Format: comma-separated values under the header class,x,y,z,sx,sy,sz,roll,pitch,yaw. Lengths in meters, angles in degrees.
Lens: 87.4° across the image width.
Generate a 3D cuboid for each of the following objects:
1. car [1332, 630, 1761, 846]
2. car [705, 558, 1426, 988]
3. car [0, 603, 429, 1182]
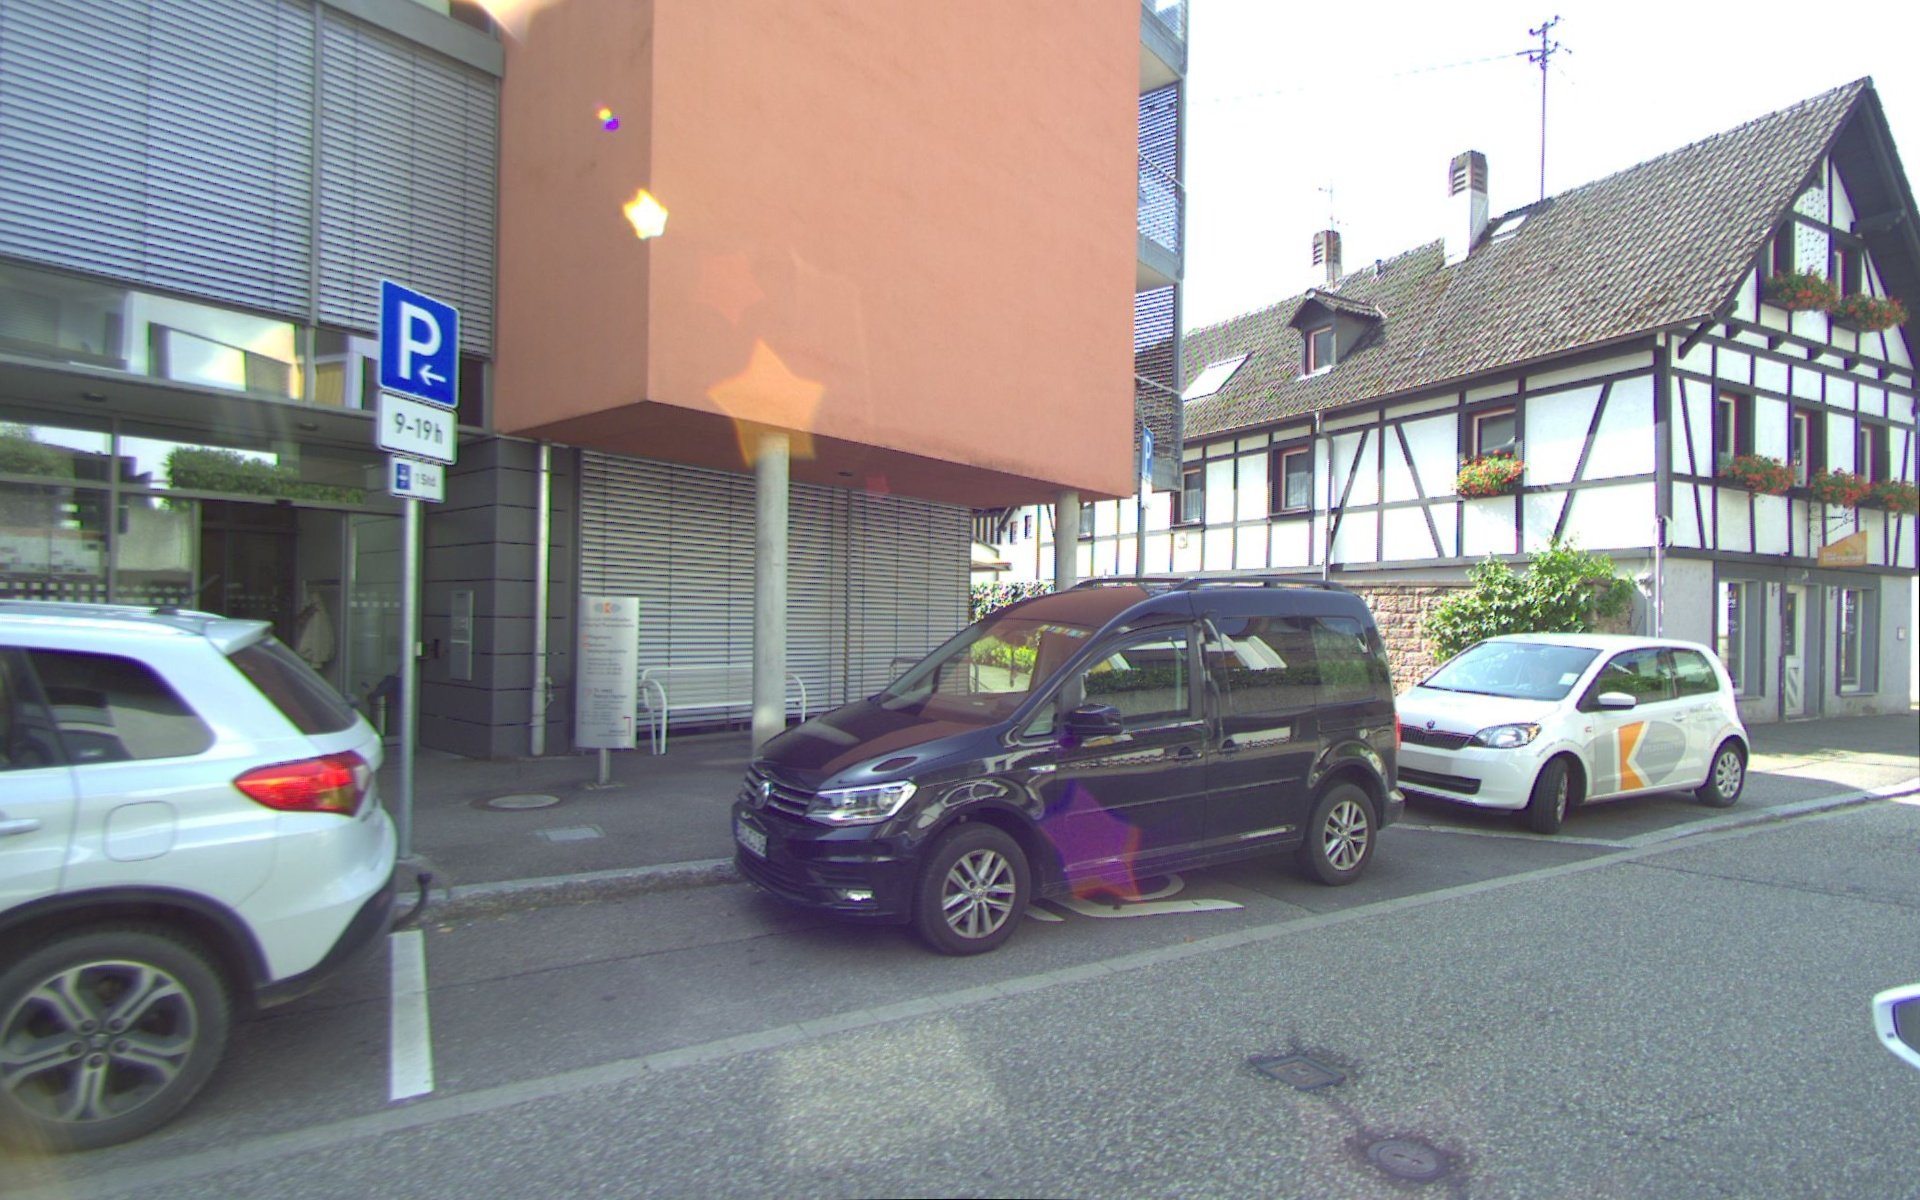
class,x,y,z,sx,sy,sz,roll,pitch,yaw
car,5.156,1.041,8.788,3.524,1.451,1.659,0,1,-29
car,0.783,0.778,6.112,4.221,1.820,1.711,1,-1,-32
car,-3.868,0.809,3.064,3.904,1.611,1.666,1,0,-31
